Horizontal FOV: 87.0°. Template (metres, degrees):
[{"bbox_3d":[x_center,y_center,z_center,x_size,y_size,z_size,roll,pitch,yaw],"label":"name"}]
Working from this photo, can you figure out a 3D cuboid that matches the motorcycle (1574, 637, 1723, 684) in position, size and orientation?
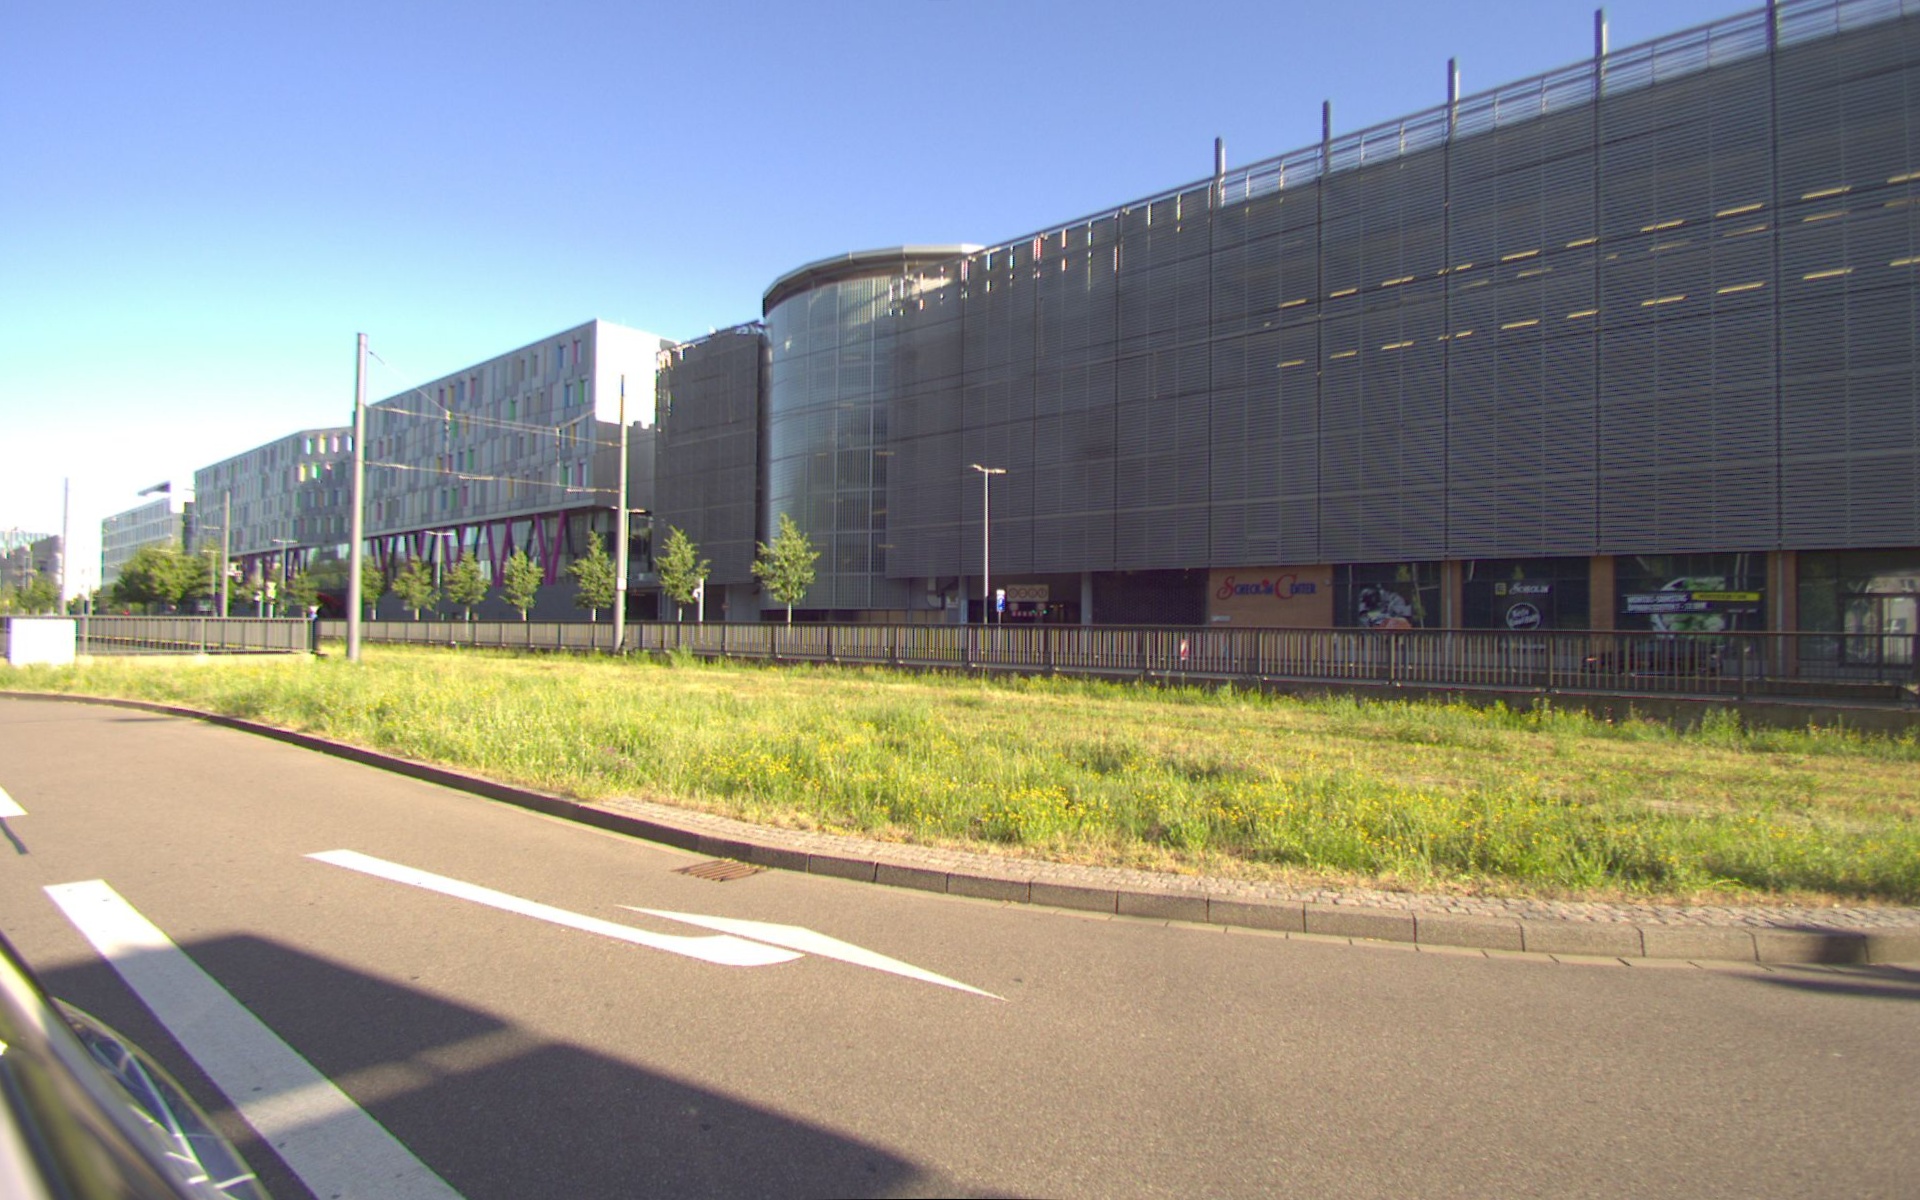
[{"bbox_3d":[23.475,2.021,34.588,3.998,1.464,1.973,-1,-3,41],"label":"motorcycle"}]
